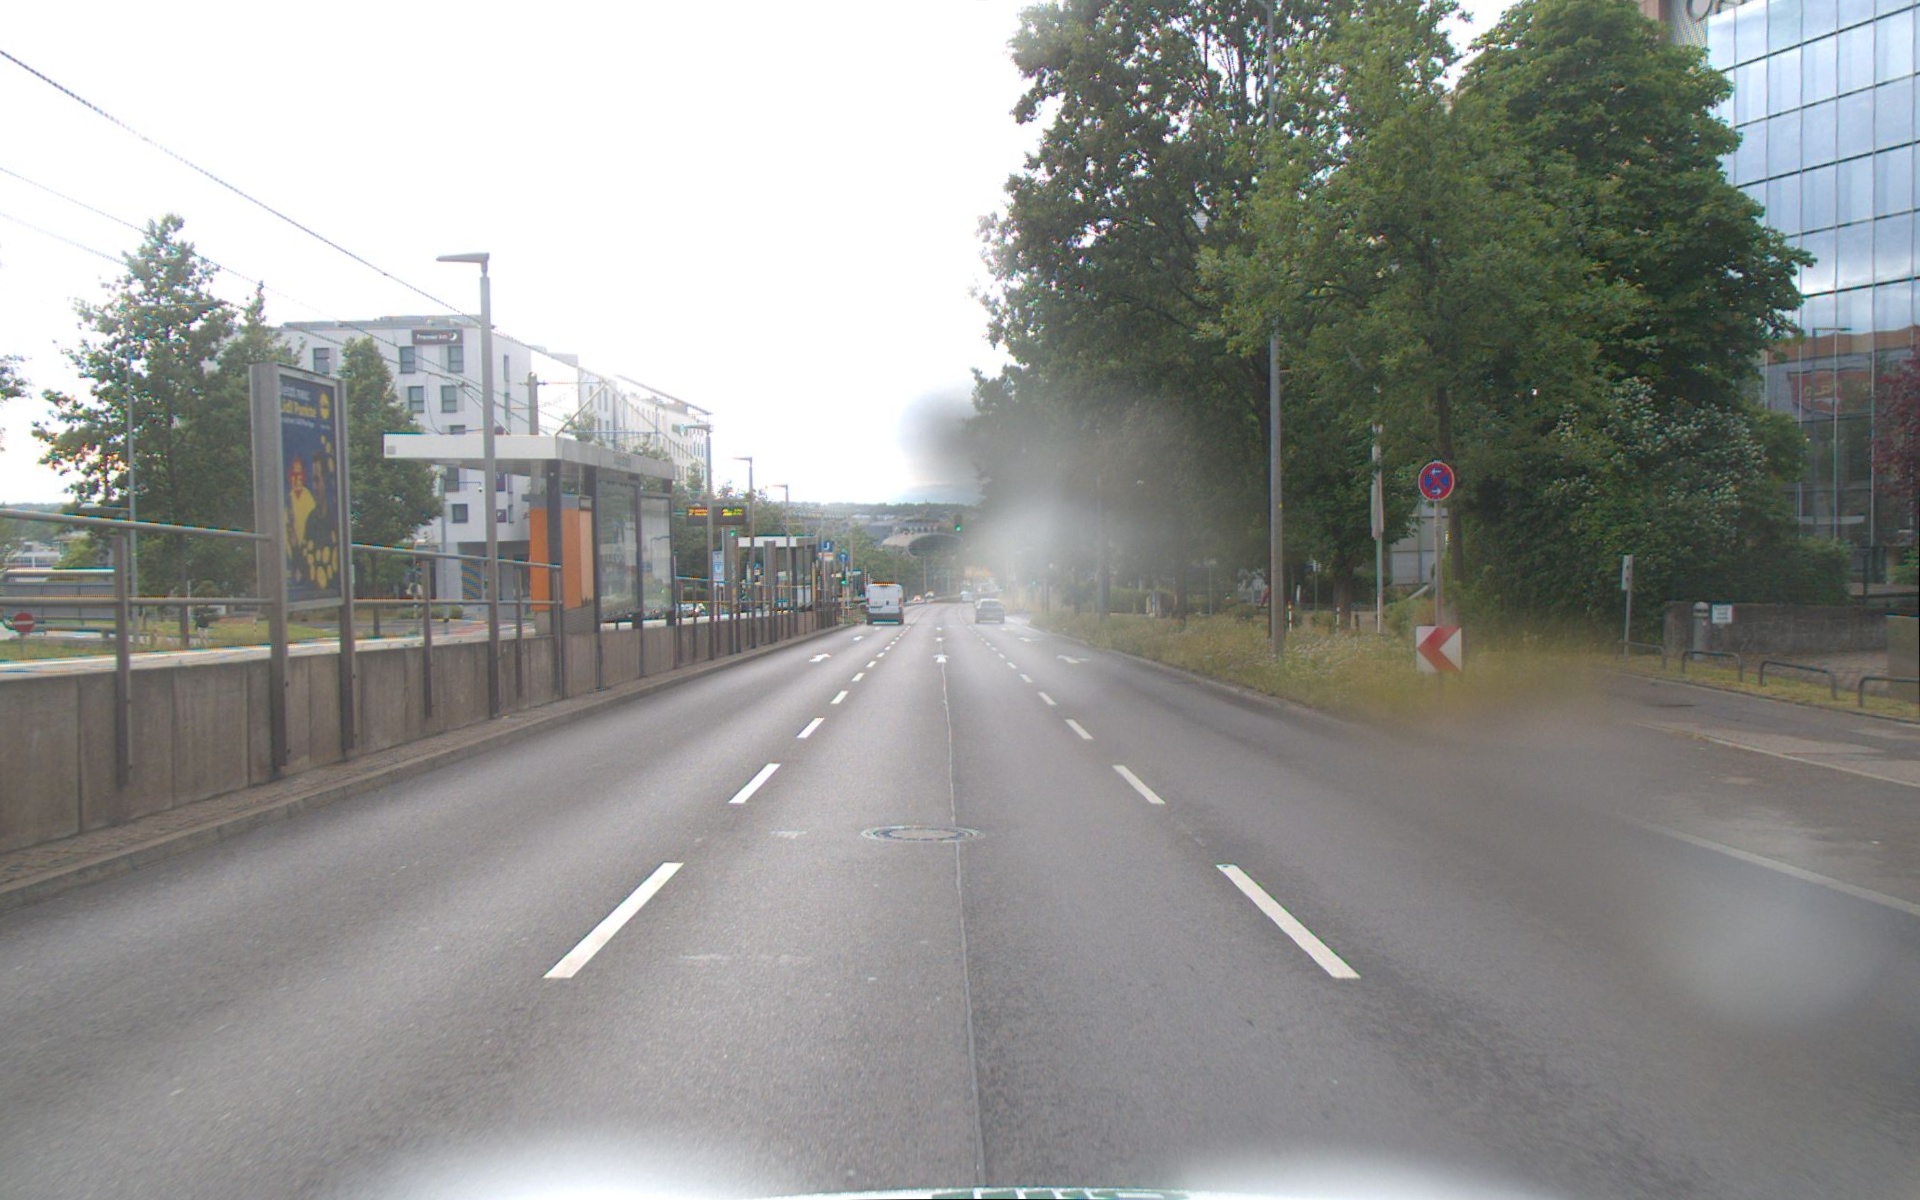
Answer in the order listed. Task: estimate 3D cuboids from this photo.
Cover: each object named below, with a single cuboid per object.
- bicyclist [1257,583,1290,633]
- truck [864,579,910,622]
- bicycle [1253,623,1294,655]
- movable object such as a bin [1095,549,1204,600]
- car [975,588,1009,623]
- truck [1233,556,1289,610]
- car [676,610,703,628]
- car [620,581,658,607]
[{"bbox_3d":[8.523,0.213,45.031,0.642,1.311,1.219,1,0,-1],"label":"bicyclist"},{"bbox_3d":[-4.088,0.037,93.659,2.311,2.301,5.306,1,0,1],"label":"truck"},{"bbox_3d":[8.512,1.057,44.981,0.654,0.823,2.318,1,0,-1],"label":"bicycle"},{"bbox_3d":[21.611,-2.870,188.728,11.892,5.353,3.789,-1,-1,0],"label":"movable object such as a bin"},{"bbox_3d":[1.953,0.345,99.844,1.952,2.049,3.935,1,0,3],"label":"car"},{"bbox_3d":[14.628,-0.787,80.499,1.712,2.562,3.997,1,0,-4],"label":"truck"},{"bbox_3d":[-22.696,1.584,138.620,1.693,1.448,3.778,-1,0,-1],"label":"car"},{"bbox_3d":[-23.108,-0.451,119.157,1.953,1.806,4.388,-1,0,-1],"label":"car"}]
